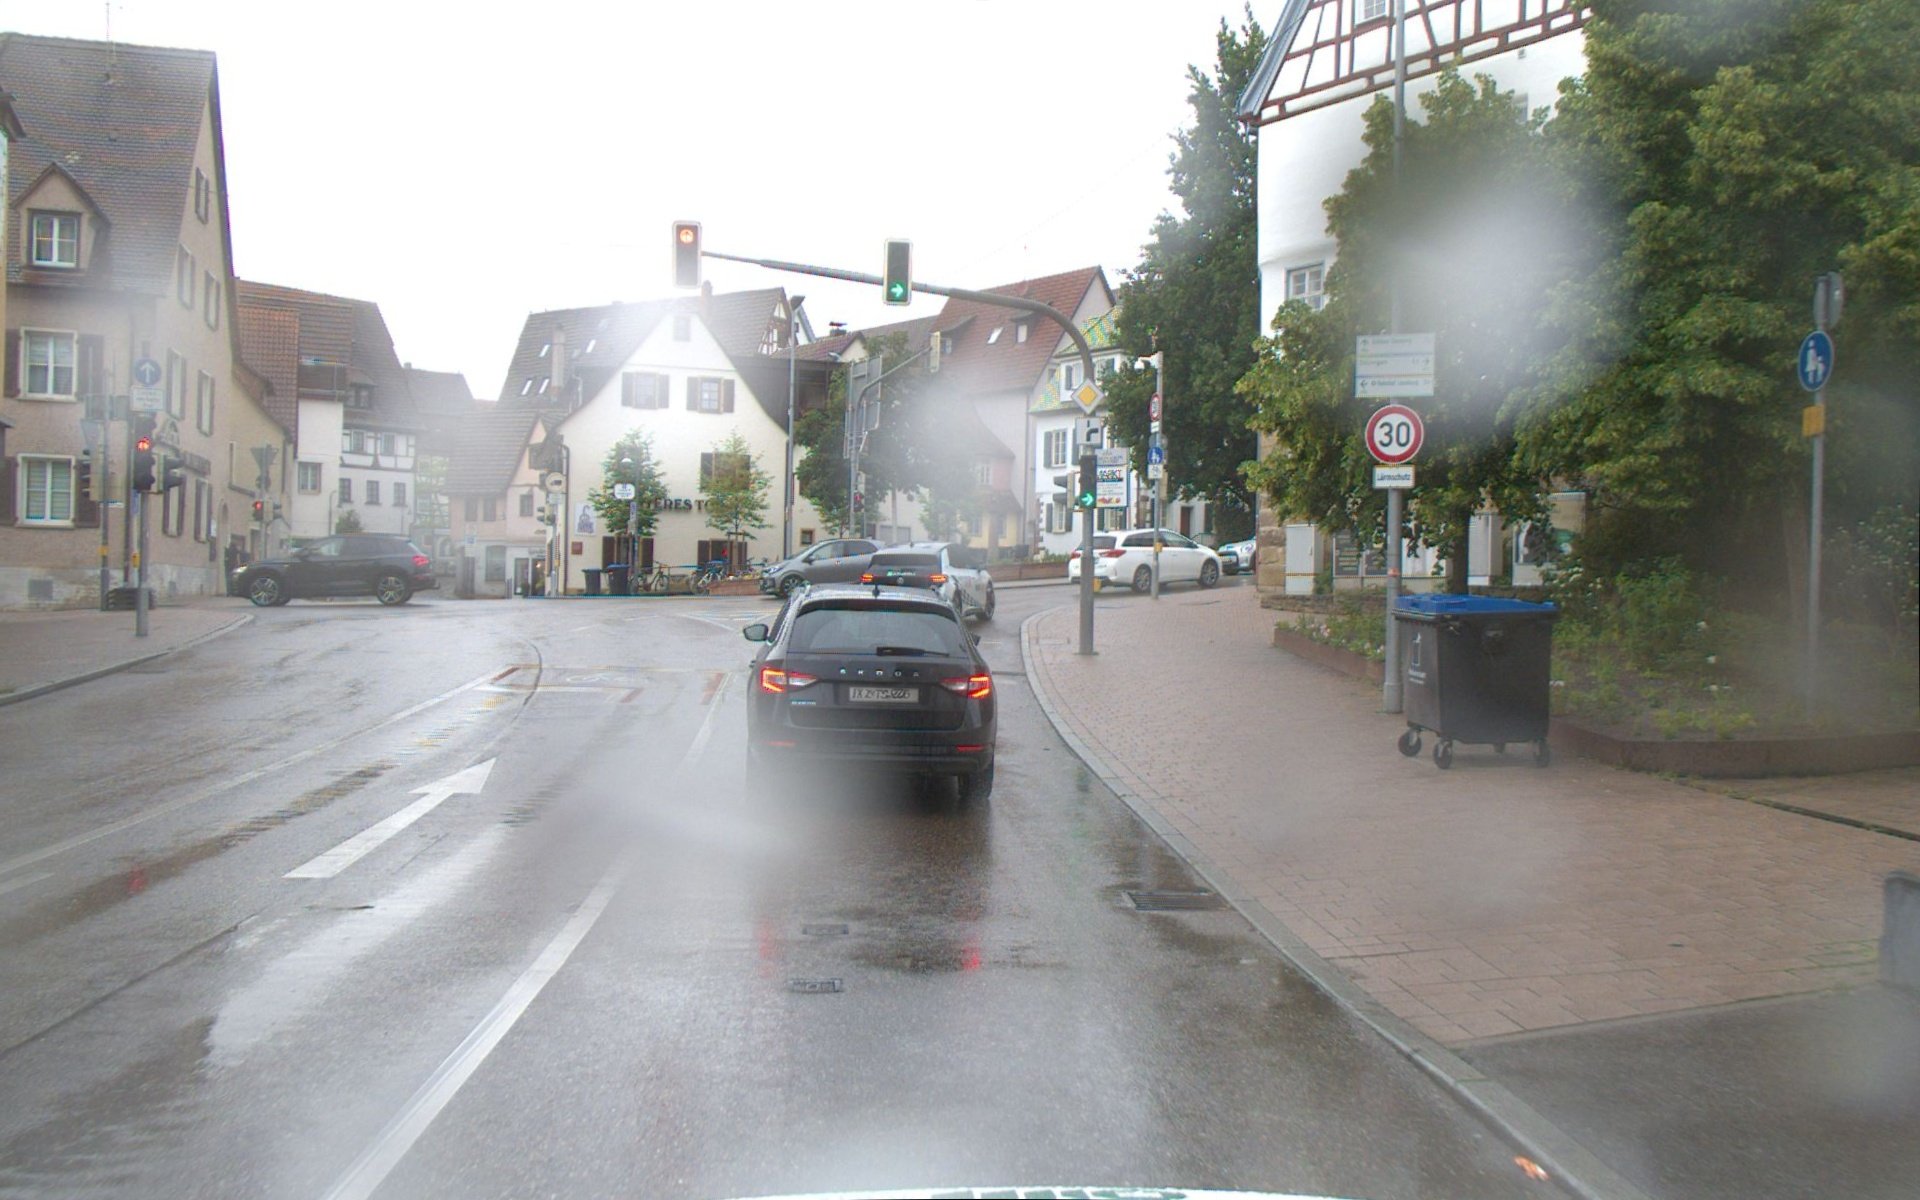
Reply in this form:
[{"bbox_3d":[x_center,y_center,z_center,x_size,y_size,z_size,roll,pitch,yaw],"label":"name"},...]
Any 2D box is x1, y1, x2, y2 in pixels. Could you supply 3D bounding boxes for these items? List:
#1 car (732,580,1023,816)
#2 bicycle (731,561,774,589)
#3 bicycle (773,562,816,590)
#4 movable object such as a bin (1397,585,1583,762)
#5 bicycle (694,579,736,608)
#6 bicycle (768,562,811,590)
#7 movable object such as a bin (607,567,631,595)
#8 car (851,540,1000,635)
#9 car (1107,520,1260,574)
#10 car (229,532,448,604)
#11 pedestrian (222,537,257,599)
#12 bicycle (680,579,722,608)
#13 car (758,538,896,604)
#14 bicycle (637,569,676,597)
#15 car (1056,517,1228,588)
[{"bbox_3d":[-0.650,0.608,12.801,1.849,1.473,4.354,1,1,-3],"label":"car"},{"bbox_3d":[-6.996,-0.855,55.815,1.454,0.927,0.388,-1,4,-37],"label":"bicycle"},{"bbox_3d":[-5.637,-0.824,56.464,1.454,0.927,0.388,-1,4,-37],"label":"bicycle"},{"bbox_3d":[4.215,0.555,13.255,1.130,1.336,1.187,1,0,2],"label":"movable object such as a bin"},{"bbox_3d":[-7.989,-0.212,53.916,0.385,0.928,1.462,1,1,40],"label":"bicycle"},{"bbox_3d":[-5.854,-0.825,56.825,1.454,0.927,0.388,-1,4,-37],"label":"bicycle"},{"bbox_3d":[-11.139,-0.620,54.045,0.581,0.917,0.577,0,2,-35],"label":"movable object such as a bin"},{"bbox_3d":[-0.552,-0.287,30.273,1.817,1.498,4.005,1,4,12],"label":"car"},{"bbox_3d":[6.375,-1.489,47.403,3.915,1.456,1.995,1,1,-11],"label":"car"},{"bbox_3d":[-14.638,-0.762,39.227,4.653,1.616,1.824,1,2,-14],"label":"car"},{"bbox_3d":[-22.075,-0.980,50.659,0.789,1.862,0.706,-4,3,-34],"label":"pedestrian"},{"bbox_3d":[-8.466,-0.219,54.105,0.385,0.928,1.462,1,1,40],"label":"bicycle"},{"bbox_3d":[-3.446,-0.720,42.592,3.321,1.503,1.530,2,-2,-13],"label":"car"},{"bbox_3d":[-9.750,-0.553,53.211,0.331,0.832,1.433,4,4,32],"label":"bicycle"},{"bbox_3d":[4.431,-1.111,39.861,1.860,1.623,4.294,2,1,45],"label":"car"}]
